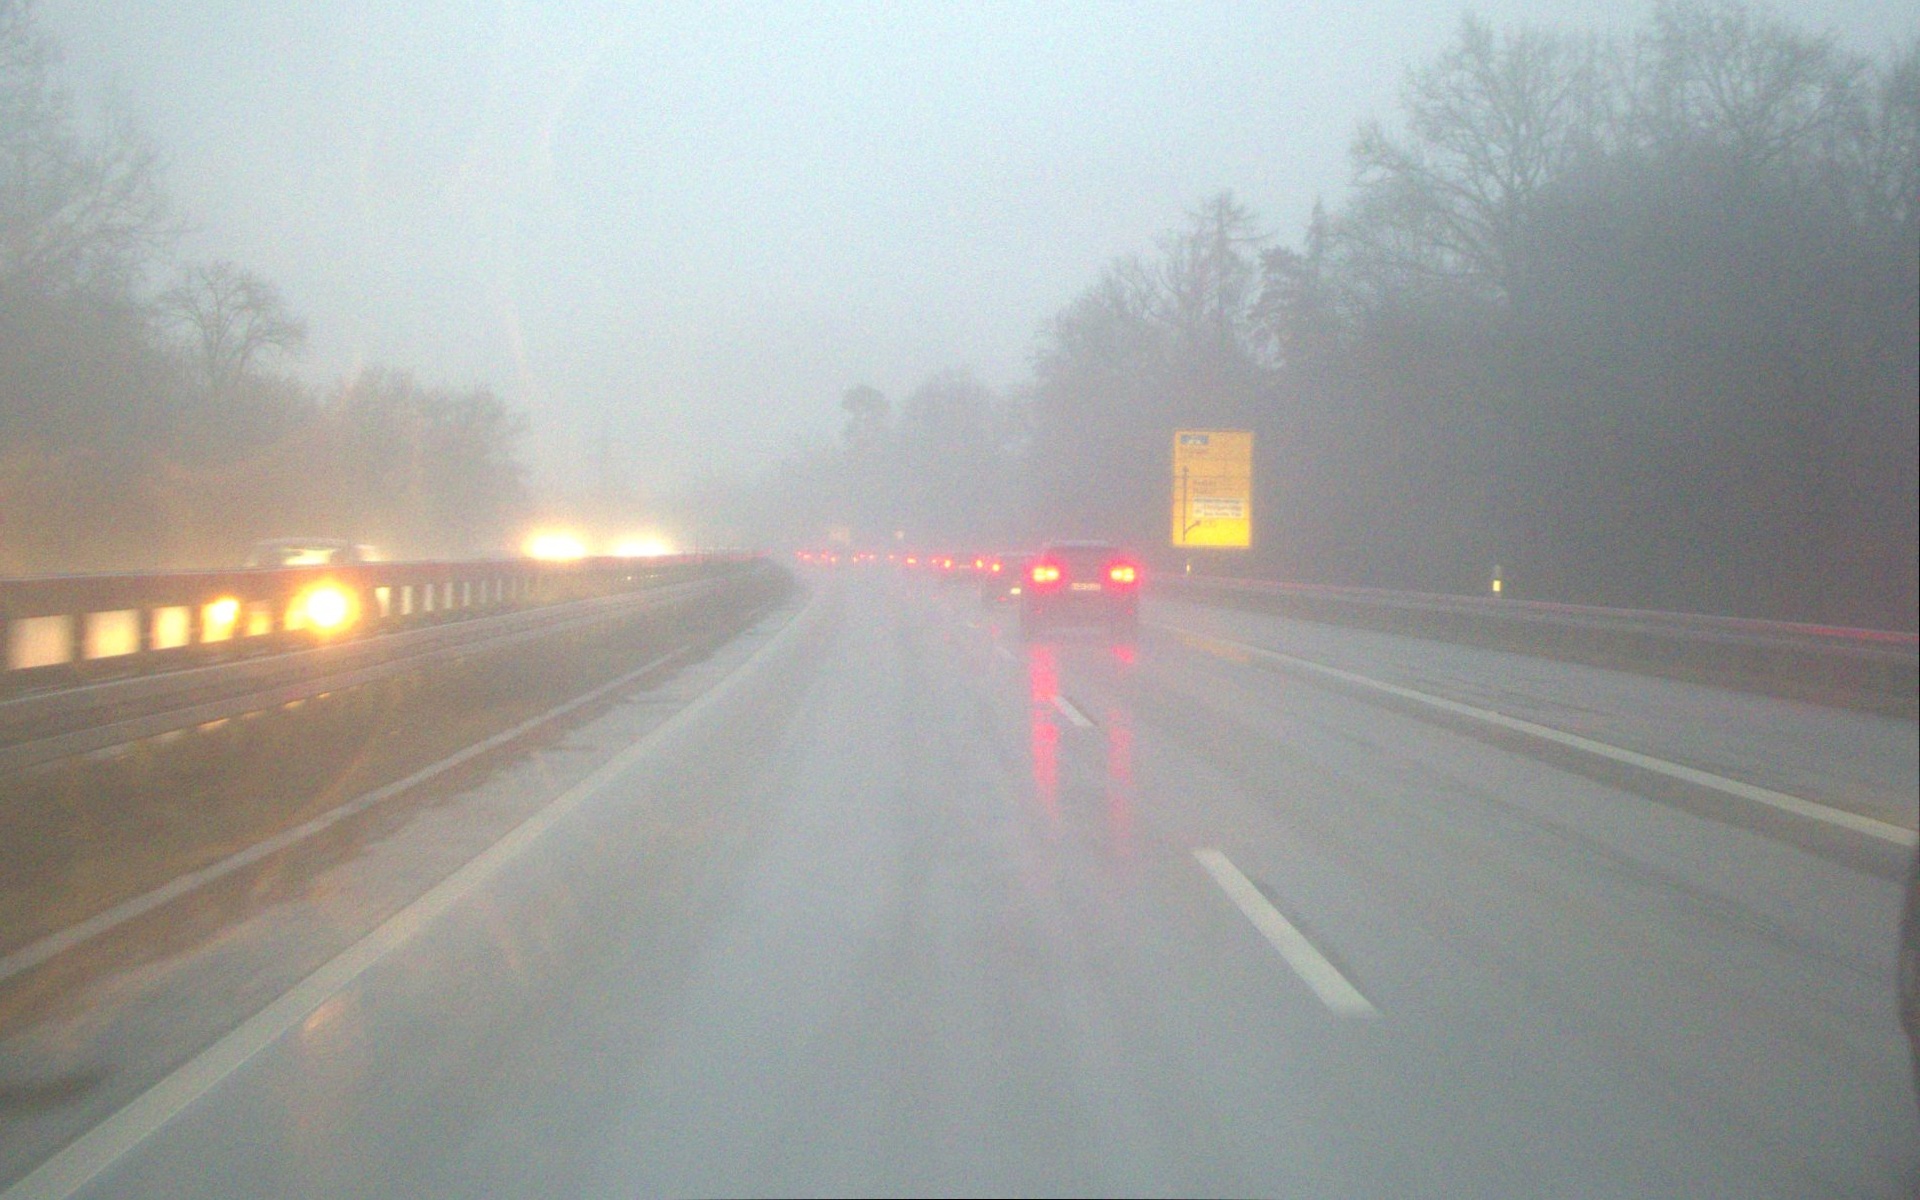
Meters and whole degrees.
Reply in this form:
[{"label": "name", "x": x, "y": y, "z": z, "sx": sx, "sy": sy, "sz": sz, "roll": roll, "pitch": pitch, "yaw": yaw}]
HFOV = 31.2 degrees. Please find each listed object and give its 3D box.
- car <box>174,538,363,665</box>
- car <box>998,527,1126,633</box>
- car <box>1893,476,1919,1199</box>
[{"label": "car", "x": -8.354, "y": 0.006, "z": 41.772, "sx": 1.631, "sy": 1.463, "sz": 3.524, "roll": 1, "pitch": 0, "yaw": -1}, {"label": "car", "x": 1.687, "y": -0.341, "z": 58.104, "sx": 1.992, "sy": 1.709, "sz": 3.830, "roll": 1, "pitch": 0, "yaw": 0}, {"label": "car", "x": 3.299, "y": 0.621, "z": 6.459, "sx": 1.924, "sy": 1.785, "sz": 3.941, "roll": 1, "pitch": 0, "yaw": -1}]
